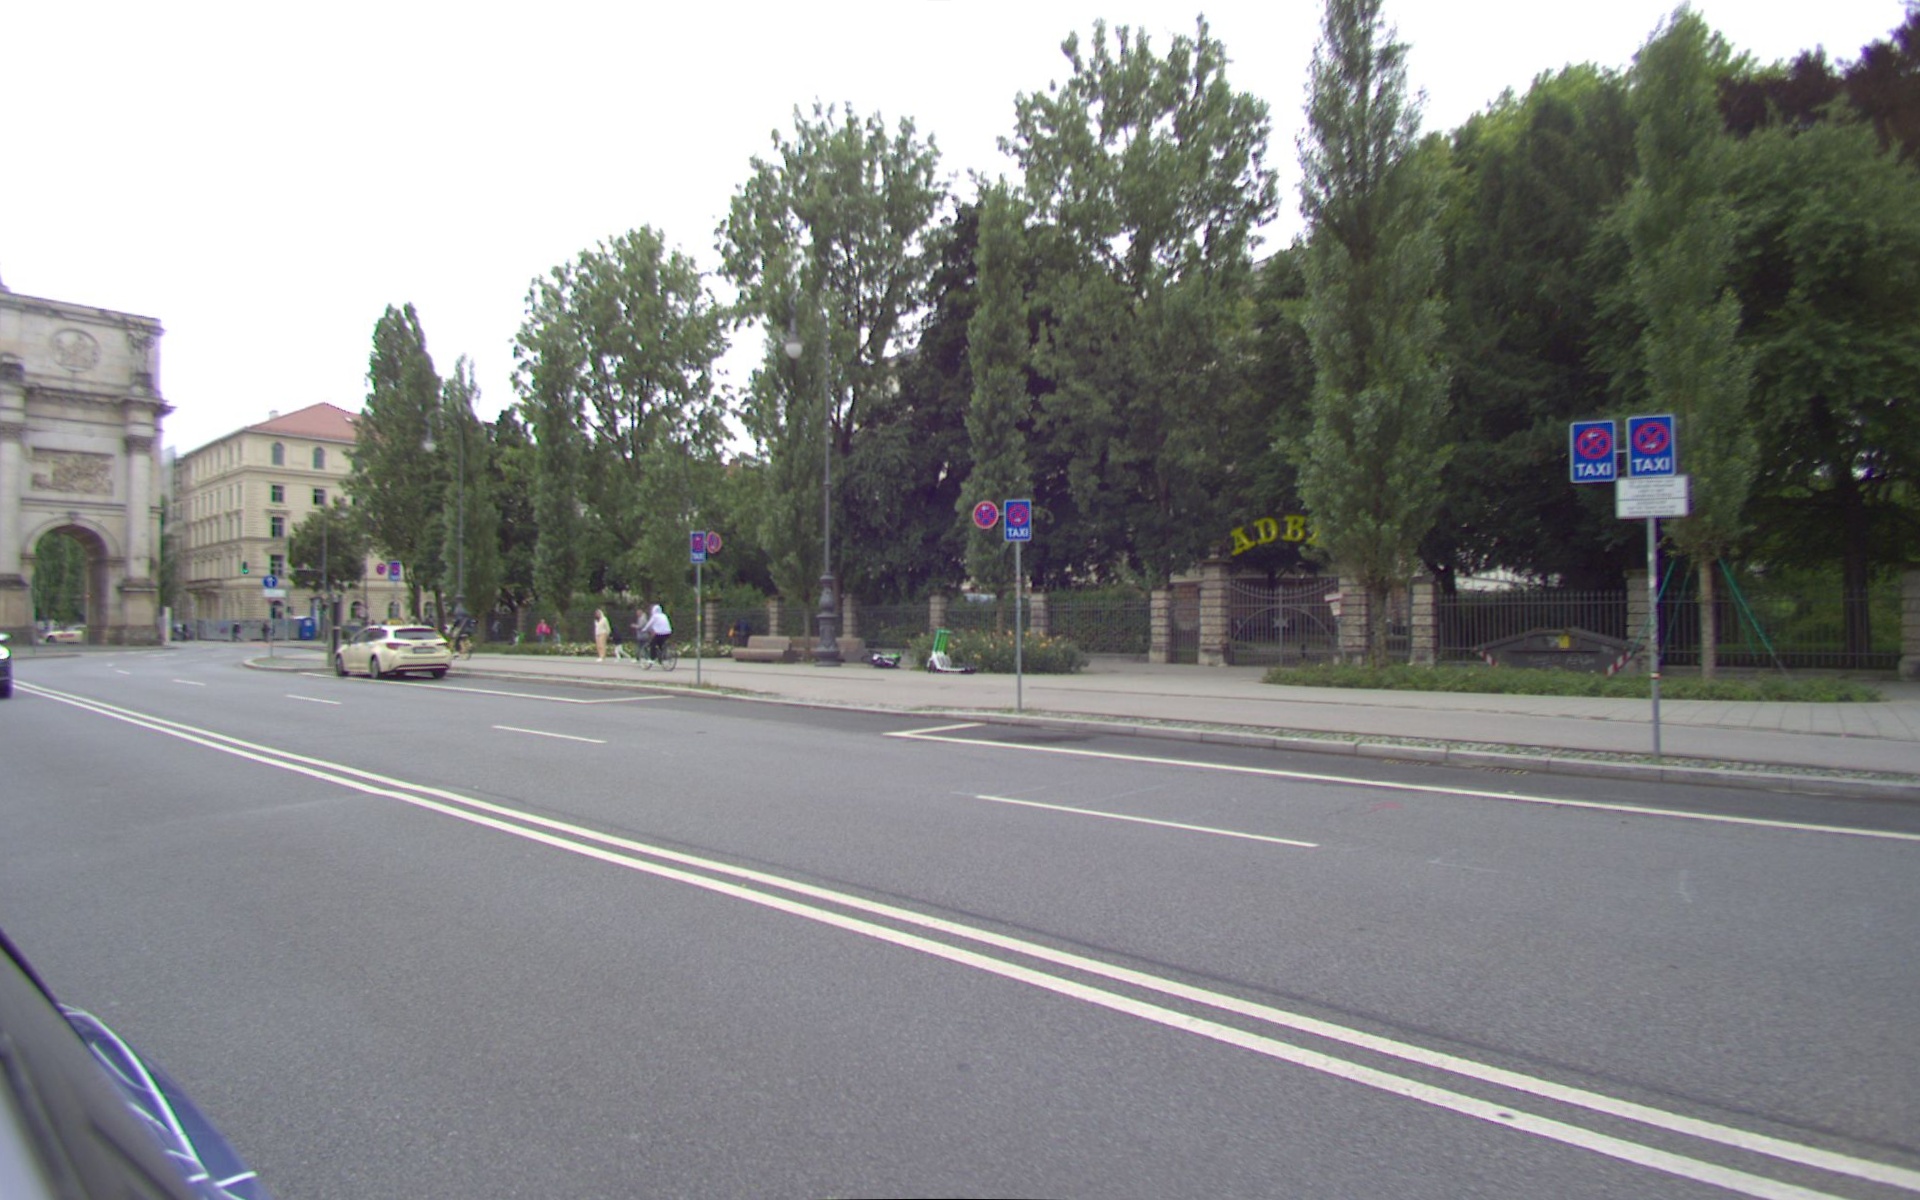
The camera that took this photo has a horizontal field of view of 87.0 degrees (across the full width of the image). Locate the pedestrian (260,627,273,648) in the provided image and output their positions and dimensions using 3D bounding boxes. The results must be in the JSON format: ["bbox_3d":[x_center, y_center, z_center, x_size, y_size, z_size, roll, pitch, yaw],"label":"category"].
[{"bbox_3d":[-60.216,3.269,87.908,0.868,1.837,0.687,1,-2,-40],"label":"pedestrian"}]

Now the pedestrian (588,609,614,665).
[{"bbox_3d":[-11.450,1.177,32.288,0.581,1.744,0.527,-1,-2,30],"label":"pedestrian"}]

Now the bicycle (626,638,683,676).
[{"bbox_3d":[-8.177,1.499,27.043,1.912,0.959,0.464,-2,-1,40],"label":"bicycle"}]

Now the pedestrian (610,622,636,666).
[{"bbox_3d":[-10.683,1.382,32.110,0.581,1.386,0.527,-1,-2,30],"label":"pedestrian"}]

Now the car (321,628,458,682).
[{"bbox_3d":[-15.700,1.465,27.780,4.464,1.347,1.774,-2,-2,39],"label":"car"}]

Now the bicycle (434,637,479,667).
[{"bbox_3d":[-17.302,1.767,34.758,1.912,0.959,0.666,-2,-1,40],"label":"bicycle"}]

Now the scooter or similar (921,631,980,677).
[{"bbox_3d":[-0.252,1.429,26.905,1.413,1.187,0.738,-2,-3,37],"label":"scooter or similar"}]

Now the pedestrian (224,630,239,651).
[{"bbox_3d":[-64.952,3.618,90.218,1.017,1.837,0.883,1,-2,-42],"label":"pedestrian"}]

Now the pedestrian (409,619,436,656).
[{"bbox_3d":[-25.864,1.769,48.692,0.945,1.731,1.032,-1,0,-37],"label":"pedestrian"}]

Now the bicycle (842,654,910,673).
[{"bbox_3d":[-2.536,1.939,30.981,1.331,0.456,2.203,-2,-2,18],"label":"bicycle"}]

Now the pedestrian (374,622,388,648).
[{"bbox_3d":[-45.825,2.787,80.092,0.758,2.029,0.888,1,-2,-40],"label":"pedestrian"}]

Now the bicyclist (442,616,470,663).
[{"bbox_3d":[-17.320,1.355,34.778,0.660,1.604,0.639,-2,-1,39],"label":"bicyclist"}]

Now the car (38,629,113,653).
[{"bbox_3d":[-66.387,3.055,75.993,3.945,1.763,1.999,-1,-2,1],"label":"car"}]

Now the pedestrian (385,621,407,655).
[{"bbox_3d":[-29.010,1.949,52.062,0.944,1.731,1.034,-1,0,-27],"label":"pedestrian"}]

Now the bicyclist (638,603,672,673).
[{"bbox_3d":[-8.141,1.011,27.001,0.660,1.837,0.583,-2,-1,39],"label":"bicyclist"}]

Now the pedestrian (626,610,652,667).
[{"bbox_3d":[-9.899,1.173,31.193,0.581,1.744,0.527,-1,-2,30],"label":"pedestrian"}]

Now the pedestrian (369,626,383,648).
[{"bbox_3d":[-48.163,3.048,83.475,0.868,1.837,0.687,1,-2,-40],"label":"pedestrian"}]

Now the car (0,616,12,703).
[{"bbox_3d":[-19.841,1.139,19.457,4.181,1.598,1.817,-1,-1,39],"label":"car"}]

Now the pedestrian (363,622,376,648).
[{"bbox_3d":[-46.431,2.764,79.558,0.758,2.029,0.888,1,-2,-40],"label":"pedestrian"}]
